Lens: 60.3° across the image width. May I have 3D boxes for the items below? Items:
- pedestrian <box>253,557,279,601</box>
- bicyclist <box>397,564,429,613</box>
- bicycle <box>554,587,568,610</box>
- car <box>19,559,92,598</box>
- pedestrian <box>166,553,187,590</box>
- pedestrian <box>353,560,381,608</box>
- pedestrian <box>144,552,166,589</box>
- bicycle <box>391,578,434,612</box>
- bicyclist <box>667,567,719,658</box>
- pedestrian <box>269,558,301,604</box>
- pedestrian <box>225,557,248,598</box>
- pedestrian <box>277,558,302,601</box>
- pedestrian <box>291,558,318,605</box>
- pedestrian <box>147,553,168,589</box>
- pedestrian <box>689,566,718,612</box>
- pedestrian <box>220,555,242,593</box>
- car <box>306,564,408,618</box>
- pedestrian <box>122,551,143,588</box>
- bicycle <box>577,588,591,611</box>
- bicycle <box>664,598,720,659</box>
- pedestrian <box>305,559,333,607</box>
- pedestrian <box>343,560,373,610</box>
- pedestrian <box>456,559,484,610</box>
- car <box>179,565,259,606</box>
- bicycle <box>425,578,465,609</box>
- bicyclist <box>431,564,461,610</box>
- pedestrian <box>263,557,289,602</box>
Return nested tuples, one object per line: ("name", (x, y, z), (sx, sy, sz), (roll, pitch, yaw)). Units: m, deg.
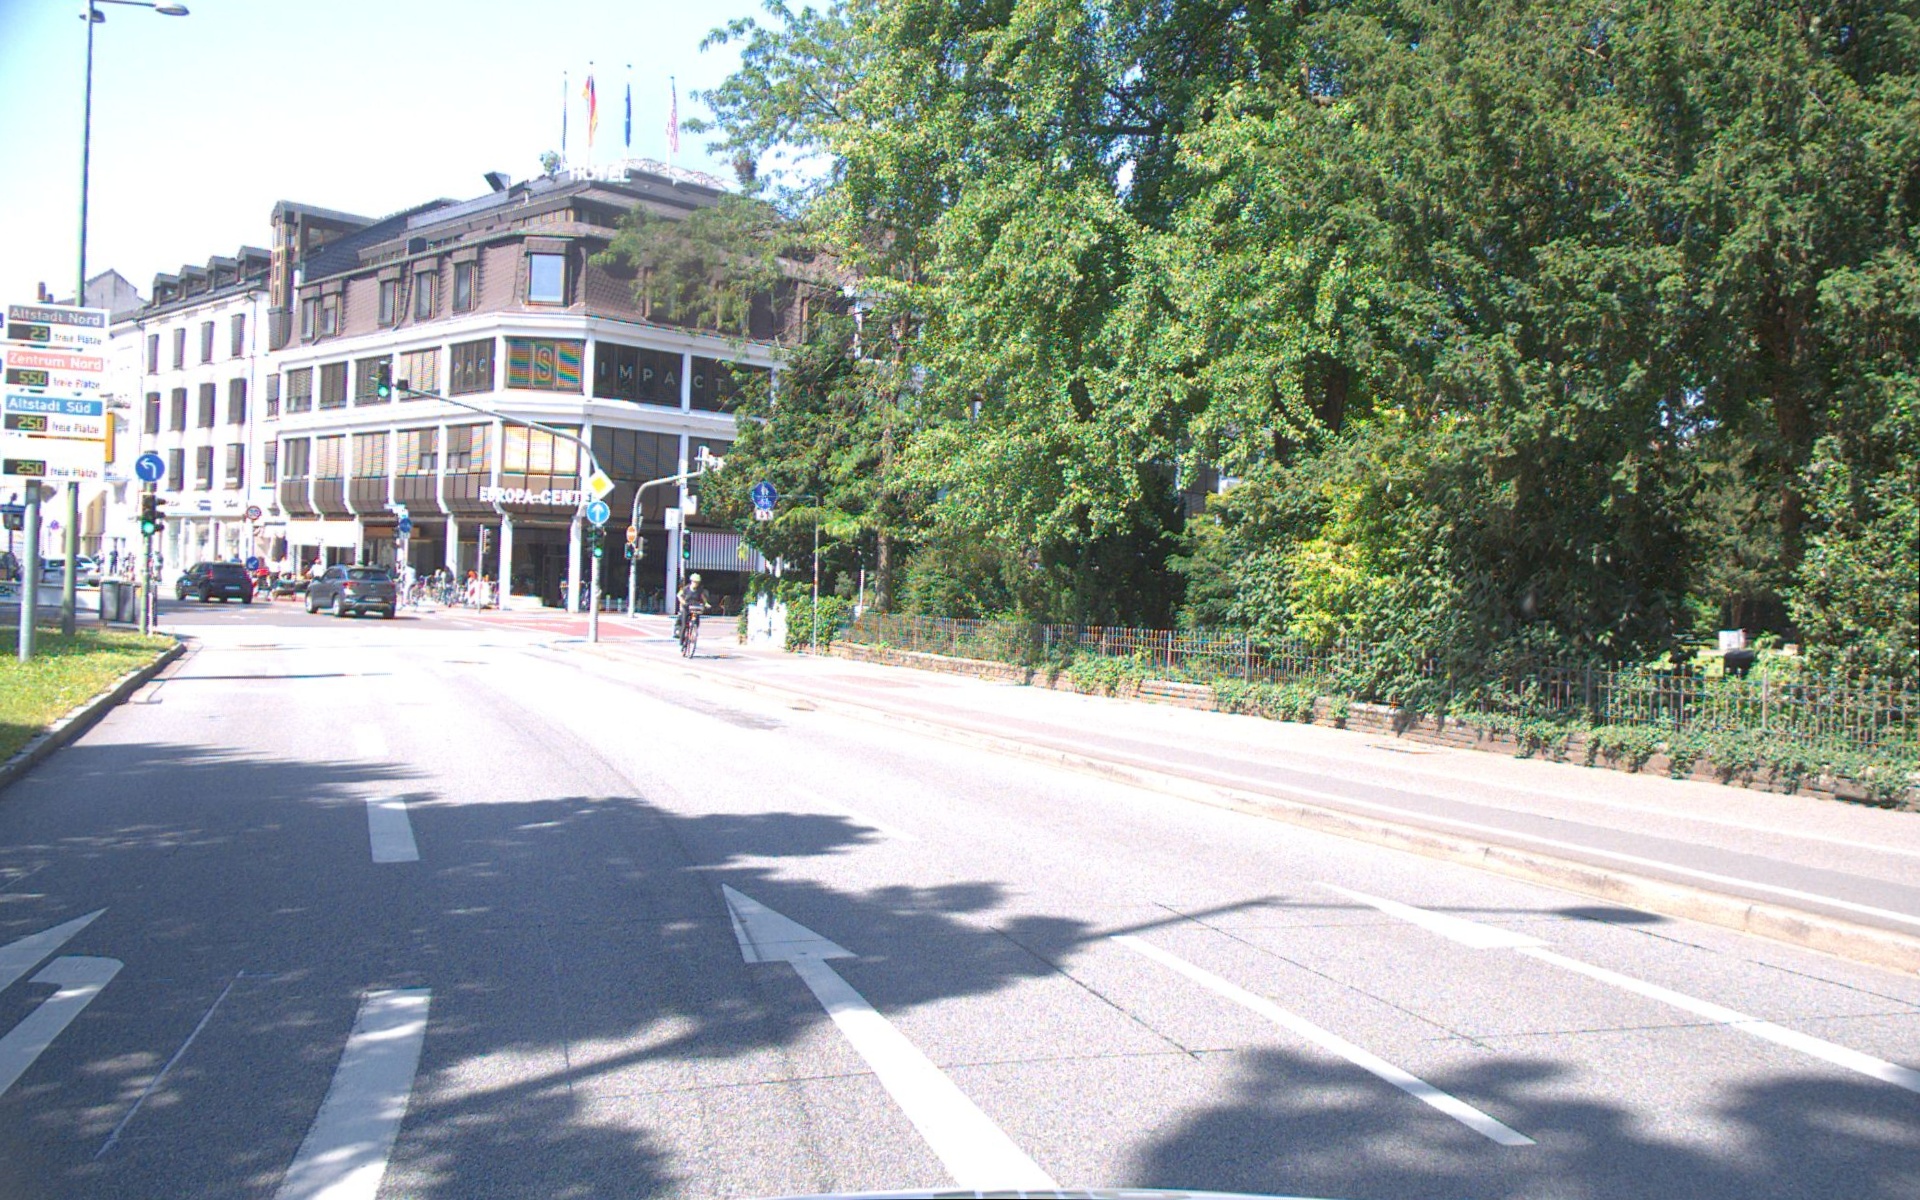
("pedestrian", (-29.348, -0.893, 69.915), (0.765, 1.844, 0.818), (2, 1, -38))
("bicyclist", (-20.515, -0.450, 62.010), (0.745, 1.777, 1.114), (2, 0, -39))
("bicycle", (-15.835, -0.068, 65.685), (0.498, 0.917, 1.517), (2, 0, -13))
("car", (-35.643, -0.864, 65.148), (1.823, 1.434, 3.739), (2, 0, -40))
("pedestrian", (-39.807, -1.443, 84.063), (0.766, 1.844, 0.818), (2, 1, -39))
("pedestrian", (-23.183, -0.615, 64.668), (0.765, 1.844, 0.818), (2, 1, -38))
("pedestrian", (-40.727, -1.487, 83.686), (0.766, 1.844, 0.818), (2, 1, -39))
("bicycle", (-20.551, -0.177, 62.037), (0.723, 1.200, 2.293), (3, 0, -39))
("bicyclist", (-5.609, 0.256, 34.704), (0.845, 1.827, 1.124), (2, 0, -19))
("pedestrian", (-27.710, -0.778, 67.859), (0.967, 1.844, 0.938), (2, 1, -38))
("pedestrian", (-33.265, -1.042, 76.029), (0.766, 1.844, 0.818), (2, 1, -39))
("pedestrian", (-29.114, -0.894, 71.792), (0.765, 1.844, 0.818), (2, 1, -38))
("pedestrian", (-26.417, -0.757, 66.681), (0.765, 1.844, 0.818), (2, 1, -38))
("pedestrian", (-41.875, -1.527, 86.272), (0.766, 1.844, 0.818), (2, 1, -39))
("pedestrian", (-11.754, -0.509, 75.794), (0.976, 2.049, 0.852), (2, 0, -37))
("pedestrian", (-35.770, -1.279, 81.135), (0.766, 1.844, 0.818), (2, 1, -39))
("car", (-18.831, -0.292, 51.567), (1.932, 1.564, 4.030), (2, 0, -36))
("pedestrian", (-42.852, -1.575, 85.643), (0.766, 1.844, 0.818), (2, 1, -39))
("bicycle", (-14.978, -0.030, 65.905), (0.498, 0.917, 1.517), (2, 0, -13))
("bicycle", (-5.639, 0.585, 34.714), (0.840, 1.180, 2.073), (2, 1, -18))
("pedestrian", (-25.521, -0.680, 65.843), (0.765, 1.844, 0.818), (2, 1, -38))
("pedestrian", (-22.506, -0.558, 61.823), (0.765, 1.844, 0.818), (2, 1, -38))
("pedestrian", (-19.492, -0.611, 65.821), (0.765, 1.993, 0.818), (2, 1, -38))
("car", (-27.665, -0.559, 61.722), (1.814, 1.434, 3.740), (2, 0, -39))
("bicycle", (-20.808, -0.272, 66.843), (0.723, 1.200, 2.293), (3, 0, -39))
("bicyclist", (-20.787, -0.537, 66.822), (0.745, 1.777, 1.114), (2, 0, -39))
("pedestrian", (-28.590, -0.846, 69.166), (0.765, 1.844, 0.818), (2, 1, -38))
